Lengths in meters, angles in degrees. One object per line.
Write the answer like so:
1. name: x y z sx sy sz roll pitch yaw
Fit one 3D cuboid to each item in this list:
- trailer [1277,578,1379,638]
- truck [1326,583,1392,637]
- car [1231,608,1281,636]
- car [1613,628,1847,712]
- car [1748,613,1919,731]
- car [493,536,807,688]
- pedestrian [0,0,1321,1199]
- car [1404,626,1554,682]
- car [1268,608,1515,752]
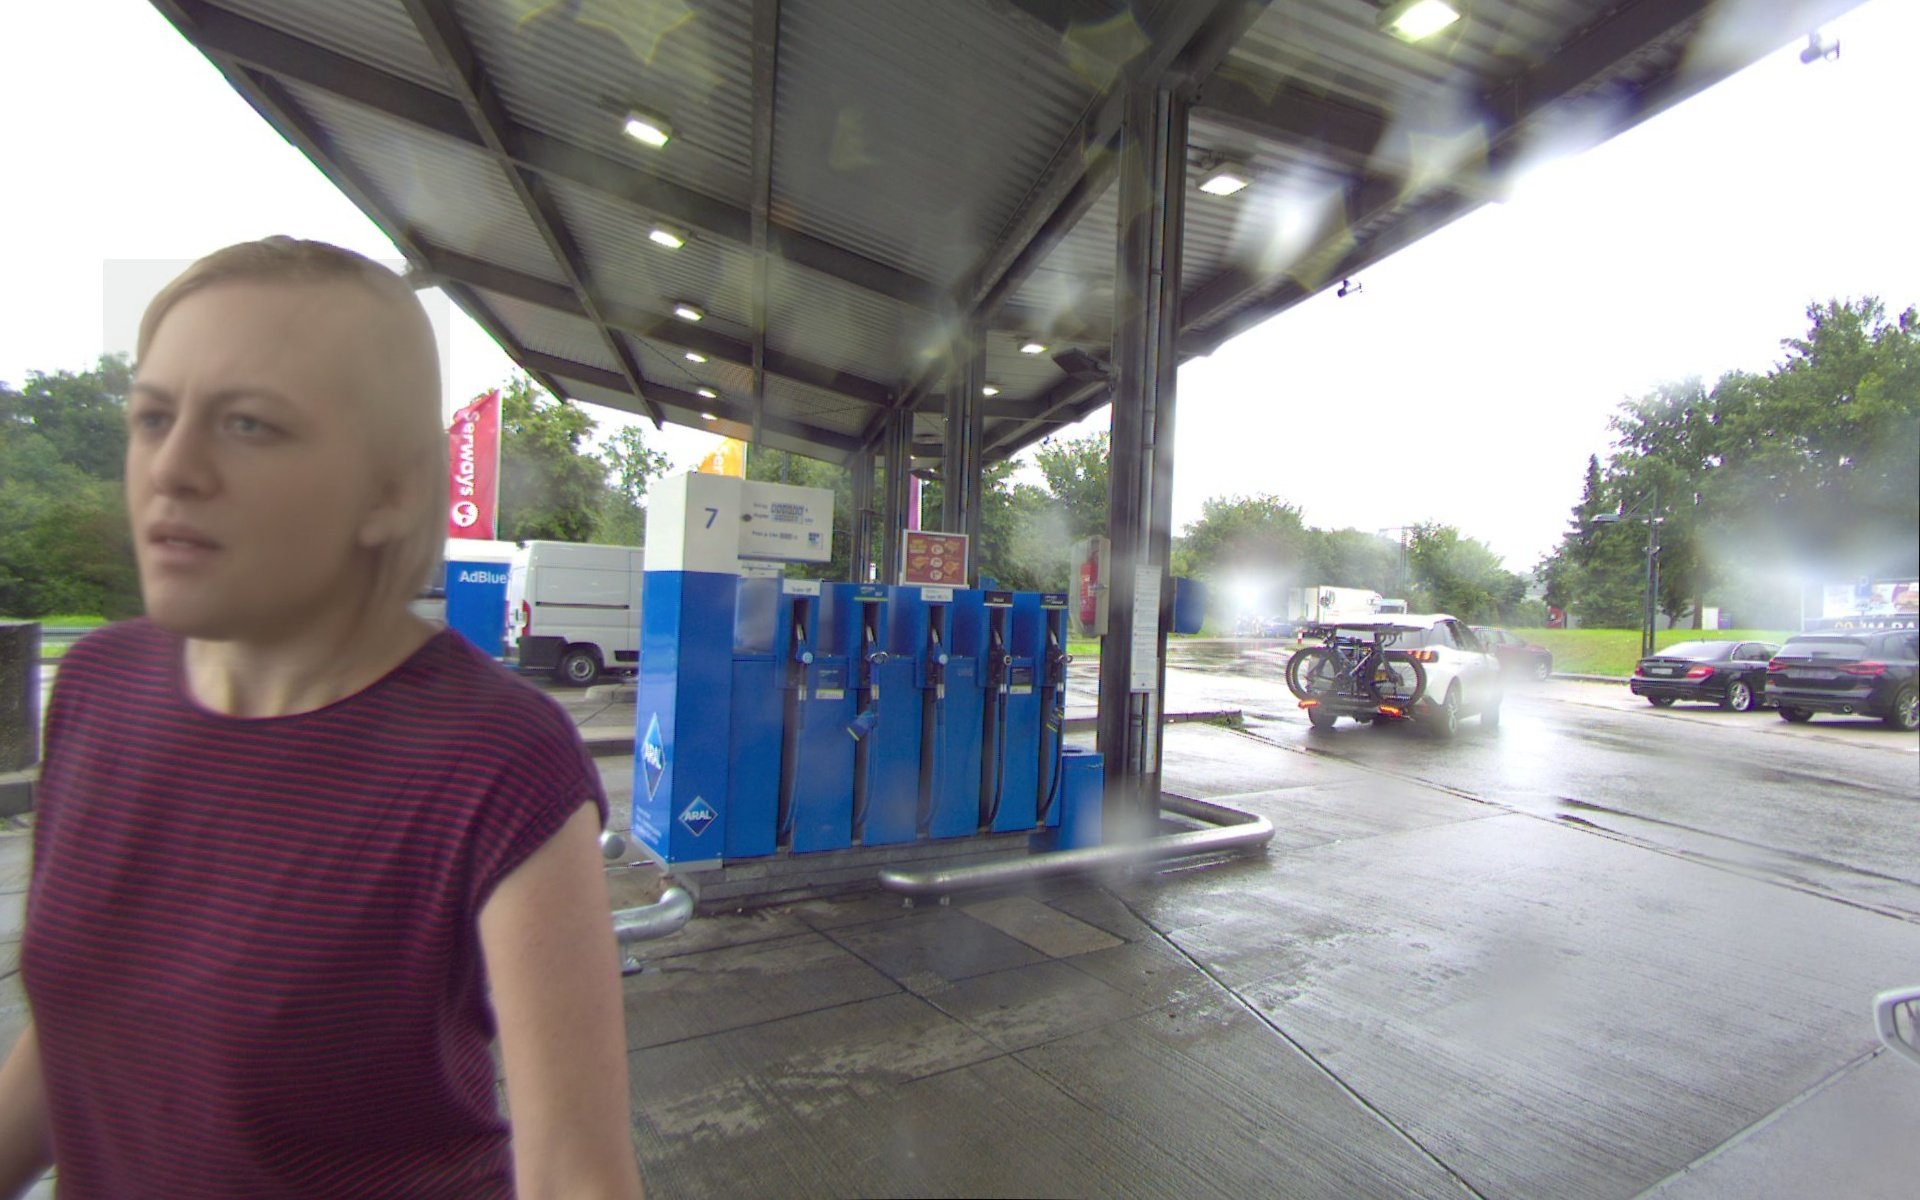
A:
1. trailer: 30.916 0.742 83.861 3.416 4.618 13.847 2 0 40
2. truck: 35.589 0.911 89.464 3.416 4.618 6.704 2 0 40
3. car: 20.923 1.540 70.852 1.903 1.862 4.373 1 0 38
4. car: 15.939 1.415 20.829 4.119 1.585 1.883 1 -1 -19
5. car: 16.152 1.187 17.410 4.344 1.852 1.883 1 -1 -19
6. car: -5.773 0.266 18.964 5.227 2.496 2.306 1 -1 -34
7. pedestrian: -0.356 0.341 0.699 0.830 1.757 0.790 2 -1 -31
8. car: 16.003 1.642 30.975 4.294 1.617 1.879 1 -1 -24
9. car: 6.113 0.951 13.847 1.792 1.586 4.981 1 0 39
